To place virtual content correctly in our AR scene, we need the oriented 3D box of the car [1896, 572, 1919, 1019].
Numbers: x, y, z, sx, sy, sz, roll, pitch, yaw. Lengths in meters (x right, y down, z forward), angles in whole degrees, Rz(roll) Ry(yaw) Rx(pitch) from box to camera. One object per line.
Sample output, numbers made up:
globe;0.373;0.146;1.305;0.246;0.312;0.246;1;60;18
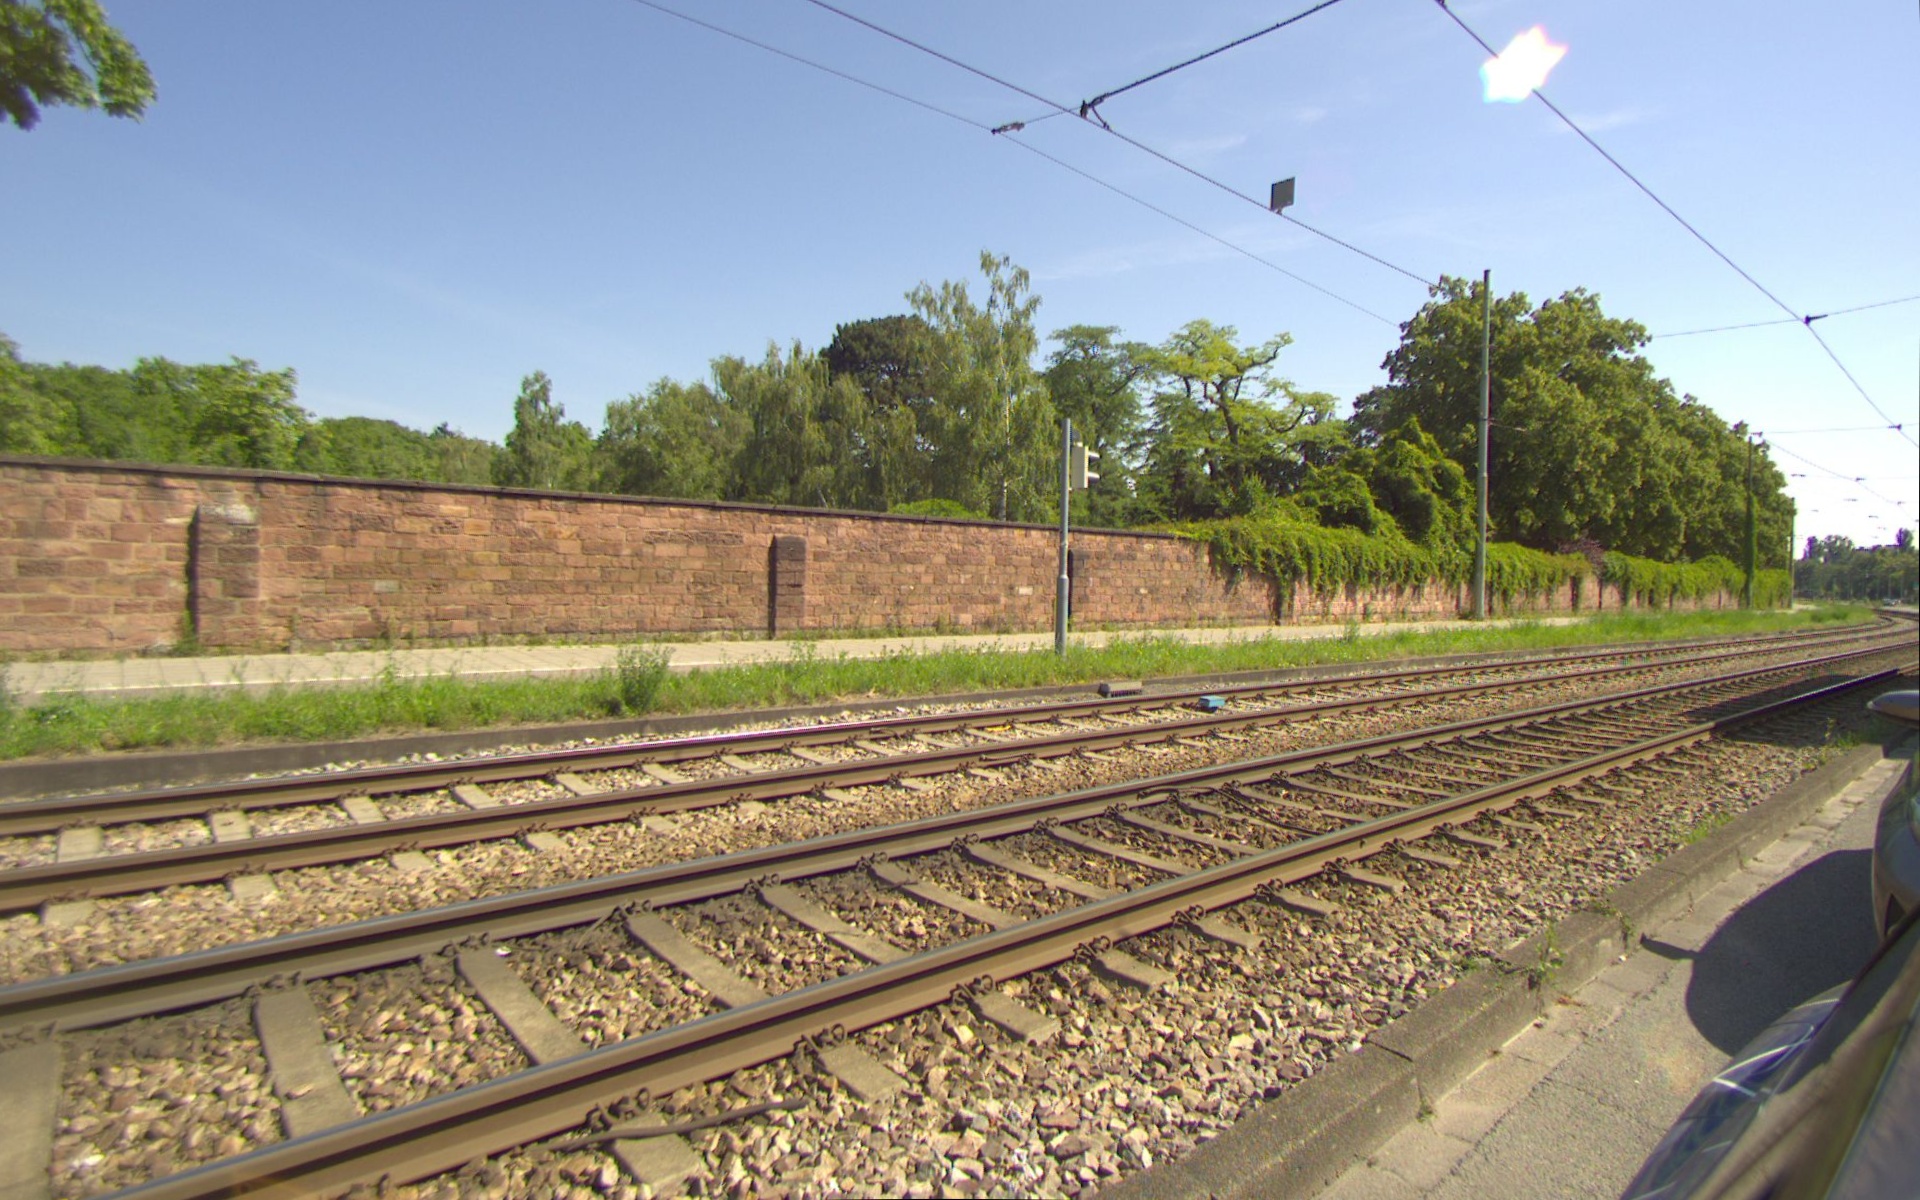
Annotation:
car;5.078;0.663;3.992;3.930;1.448;1.573;0;2;-41
